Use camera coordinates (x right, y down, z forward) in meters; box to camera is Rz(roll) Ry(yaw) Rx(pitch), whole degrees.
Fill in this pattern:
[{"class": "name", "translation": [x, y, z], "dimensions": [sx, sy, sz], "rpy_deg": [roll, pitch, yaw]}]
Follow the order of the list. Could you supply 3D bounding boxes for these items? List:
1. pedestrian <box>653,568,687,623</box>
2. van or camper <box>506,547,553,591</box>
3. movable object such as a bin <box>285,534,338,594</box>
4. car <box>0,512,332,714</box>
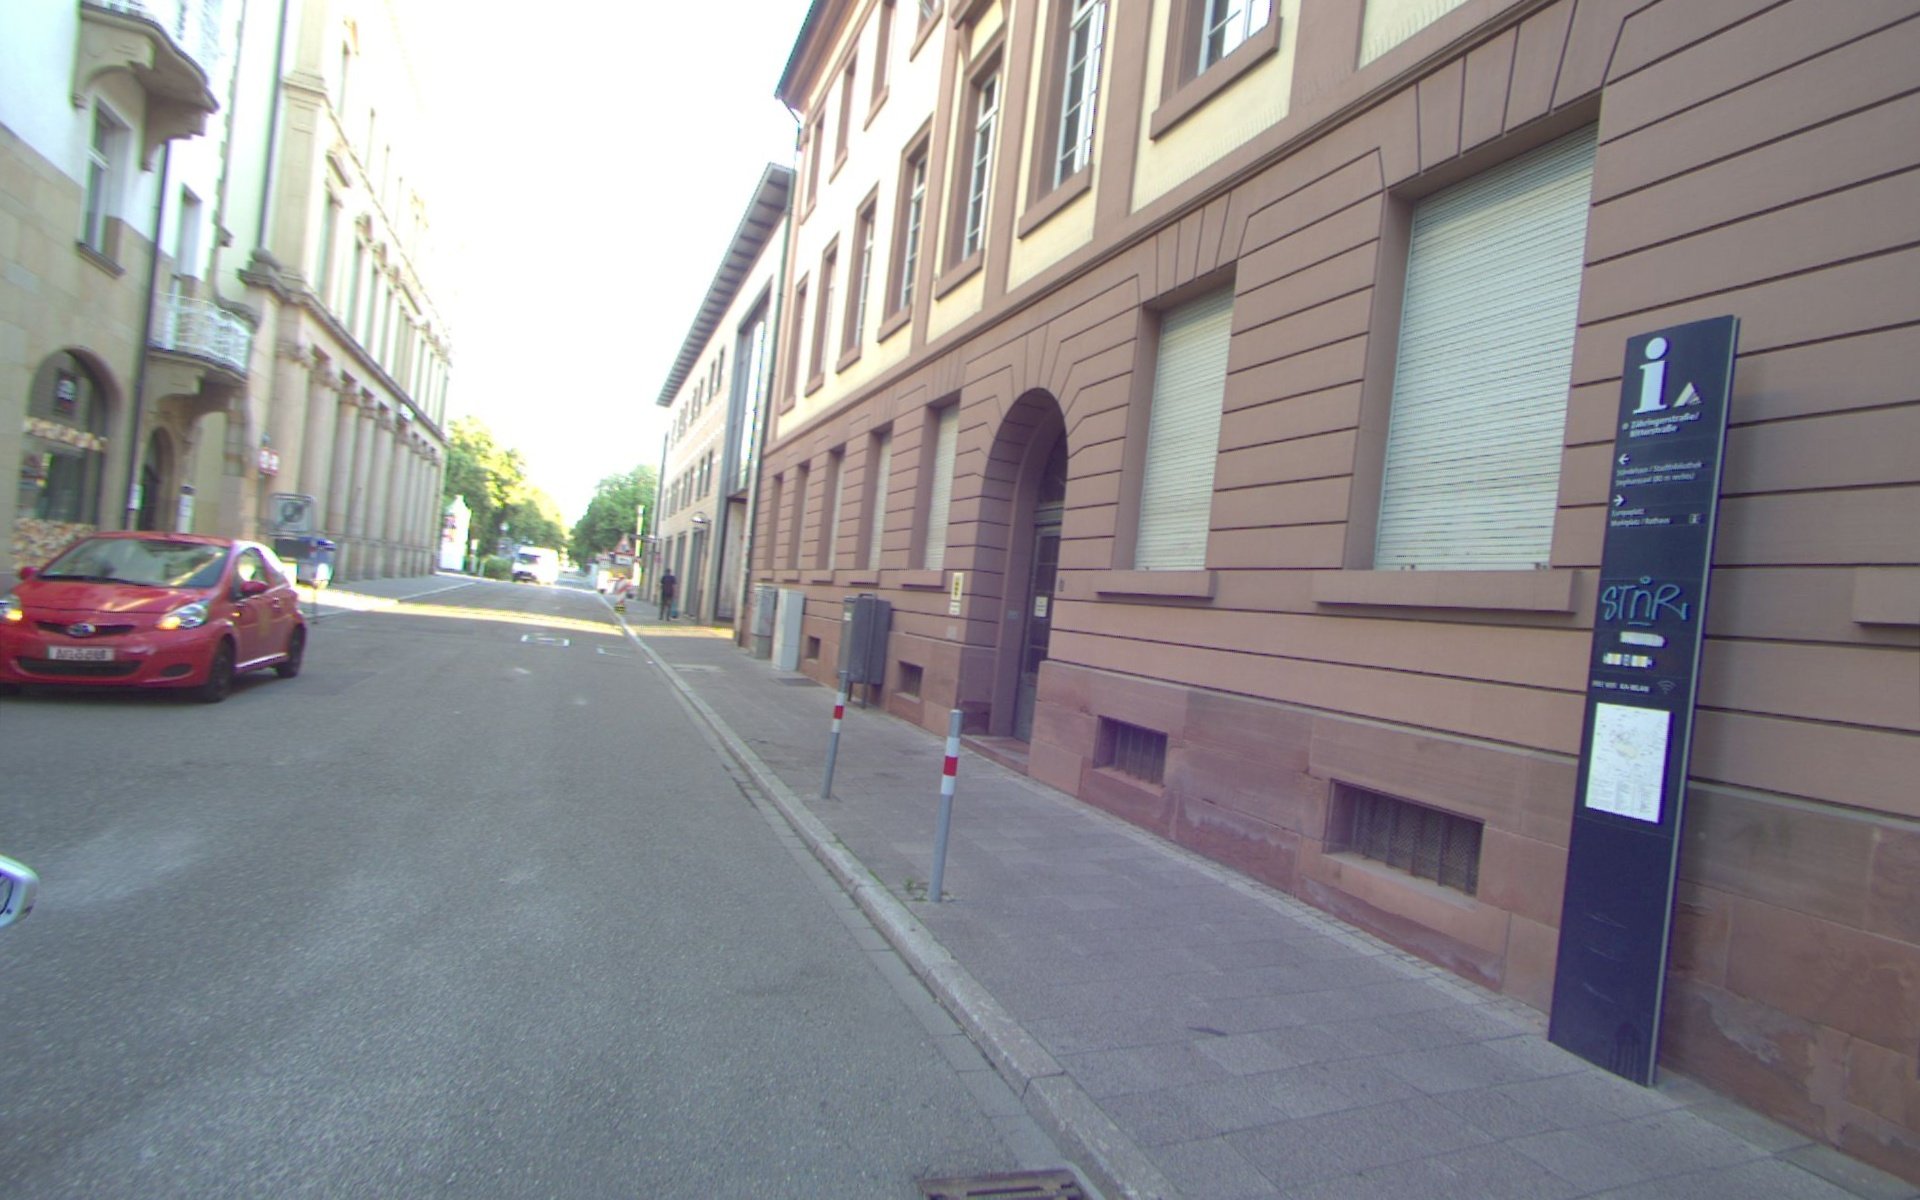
[{"class": "pedestrian", "translation": [-9.985, -0.149, 34.592], "dimensions": [0.989, 1.827, 0.877], "rpy_deg": [2, 1, -22]}, {"class": "van or camper", "translation": [-29.764, -2.136, 69.726], "dimensions": [2.194, 2.616, 6.346], "rpy_deg": [7, -1, -19]}, {"class": "movable object such as a bin", "translation": [-17.773, -0.975, 27.604], "dimensions": [0.820, 1.521, 1.285], "rpy_deg": [7, 0, -20]}, {"class": "car", "translation": [-7.477, 0.068, 9.632], "dimensions": [1.638, 1.488, 3.914], "rpy_deg": [4, 0, -20]}]
